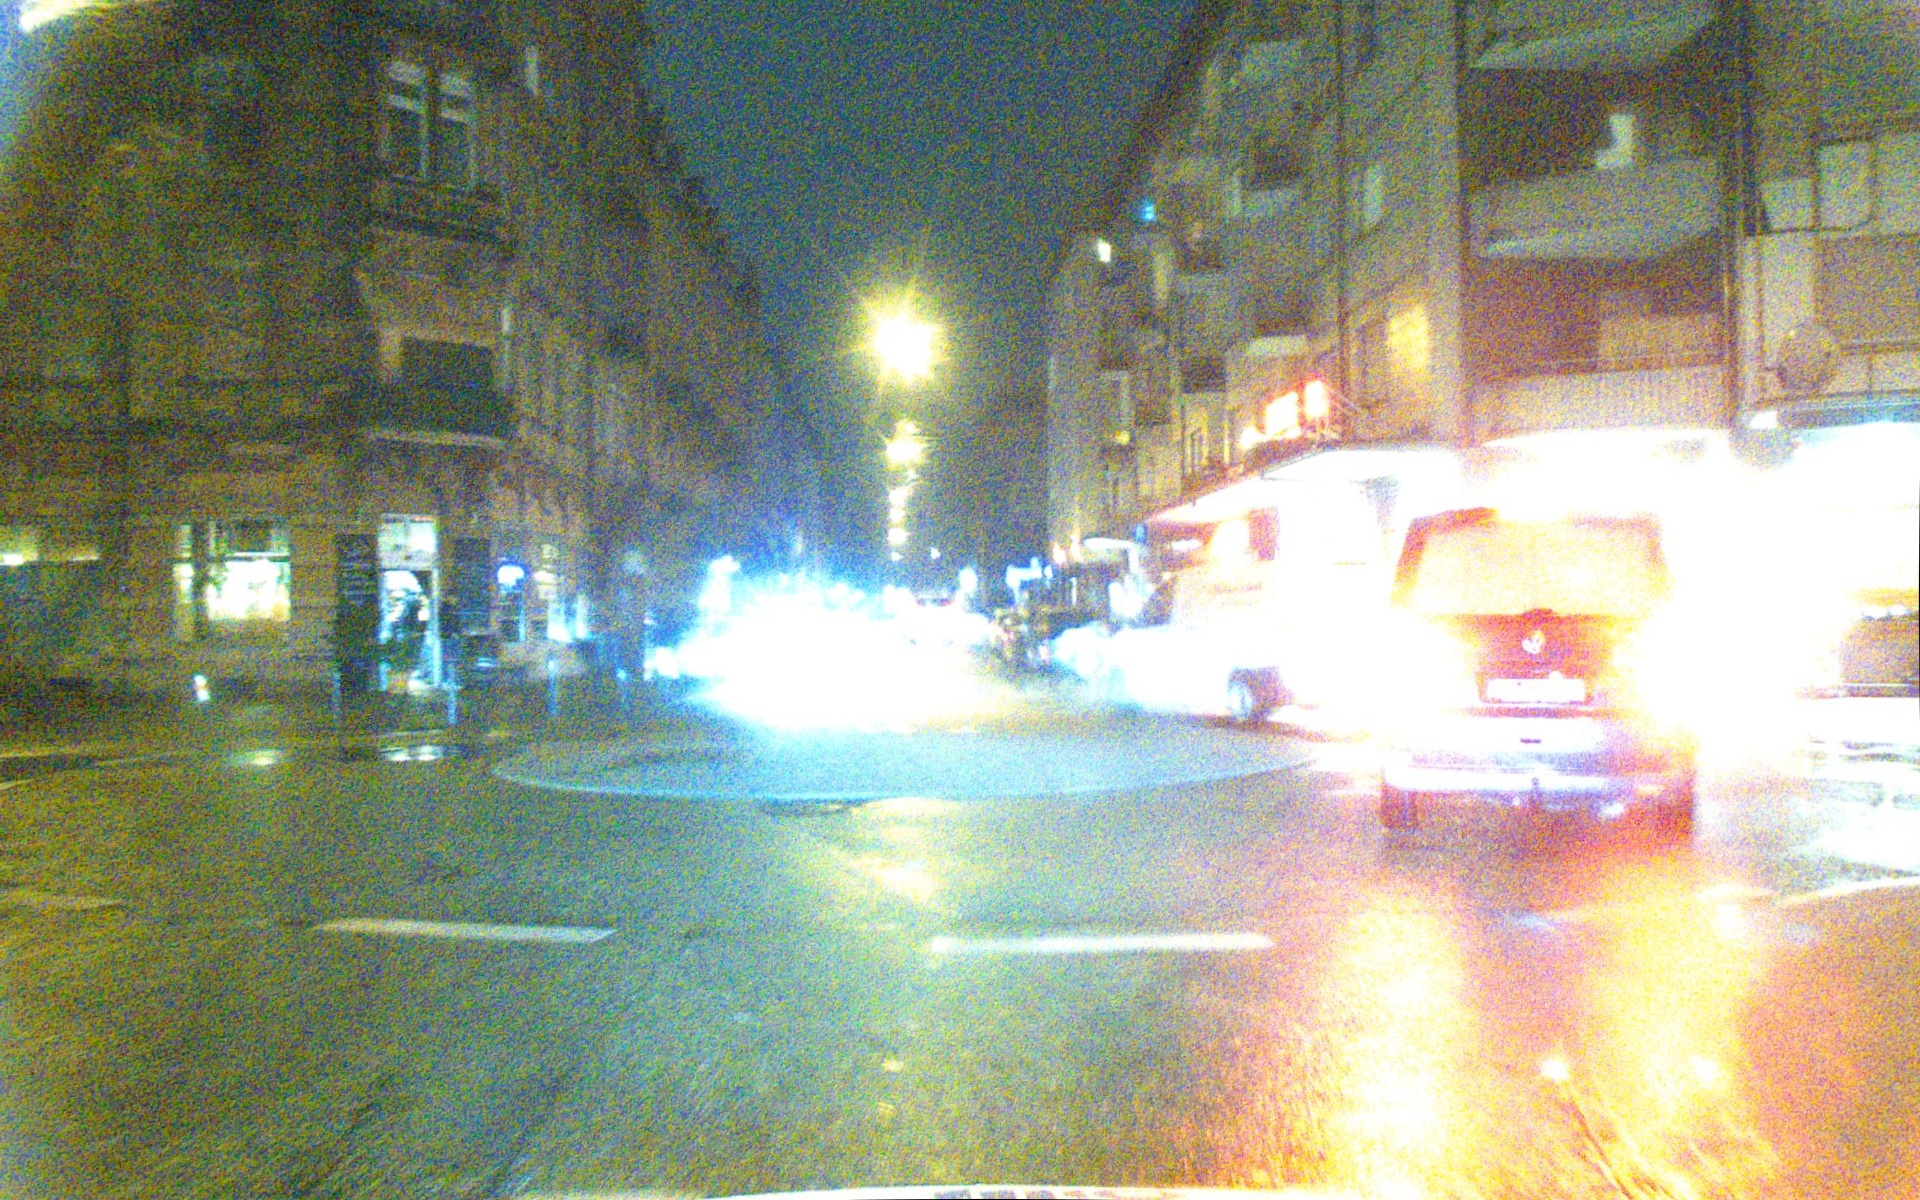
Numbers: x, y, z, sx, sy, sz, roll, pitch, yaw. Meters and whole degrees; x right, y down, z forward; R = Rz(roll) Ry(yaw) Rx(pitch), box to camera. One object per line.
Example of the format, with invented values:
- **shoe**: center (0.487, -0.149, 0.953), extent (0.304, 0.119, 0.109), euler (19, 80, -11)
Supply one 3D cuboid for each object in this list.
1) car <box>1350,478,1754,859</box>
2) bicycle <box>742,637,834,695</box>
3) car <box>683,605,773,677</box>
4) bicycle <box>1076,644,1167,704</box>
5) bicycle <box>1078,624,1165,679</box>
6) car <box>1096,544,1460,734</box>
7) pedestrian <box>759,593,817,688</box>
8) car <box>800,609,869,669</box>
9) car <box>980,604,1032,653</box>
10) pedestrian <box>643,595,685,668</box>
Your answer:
- **car**: center (3.772, 0.379, 11.280), extent (2.077, 2.026, 4.604), euler (0, 0, 14)
- **bicycle**: center (-3.414, 1.299, 32.912), extent (1.760, 1.078, 0.714), euler (-1, 0, -4)
- **car**: center (-5.228, 0.899, 37.707), extent (1.554, 1.489, 4.022), euler (2, 0, -2)
- **bicycle**: center (3.239, 1.481, 33.254), extent (1.748, 1.144, 0.435), euler (-1, 0, -5)
- **bicycle**: center (3.331, 1.055, 34.185), extent (1.727, 1.098, 0.435), euler (-1, 0, -5)
- **car**: center (3.565, 0.404, 19.616), extent (2.092, 1.956, 4.797), euler (0, 0, -20)
- **pedestrian**: center (-3.414, 0.789, 32.909), extent (1.099, 1.843, 0.714), euler (-1, 0, -4)
- **car**: center (-3.261, 0.988, 43.592), extent (1.531, 1.452, 4.068), euler (-2, 0, -1)
- **car**: center (1.526, 0.962, 55.599), extent (1.560, 1.570, 3.418), euler (0, -1, -2)
- **pedestrian**: center (-7.411, 0.789, 41.404), extent (0.787, 1.797, 1.016), euler (1, -1, 4)
